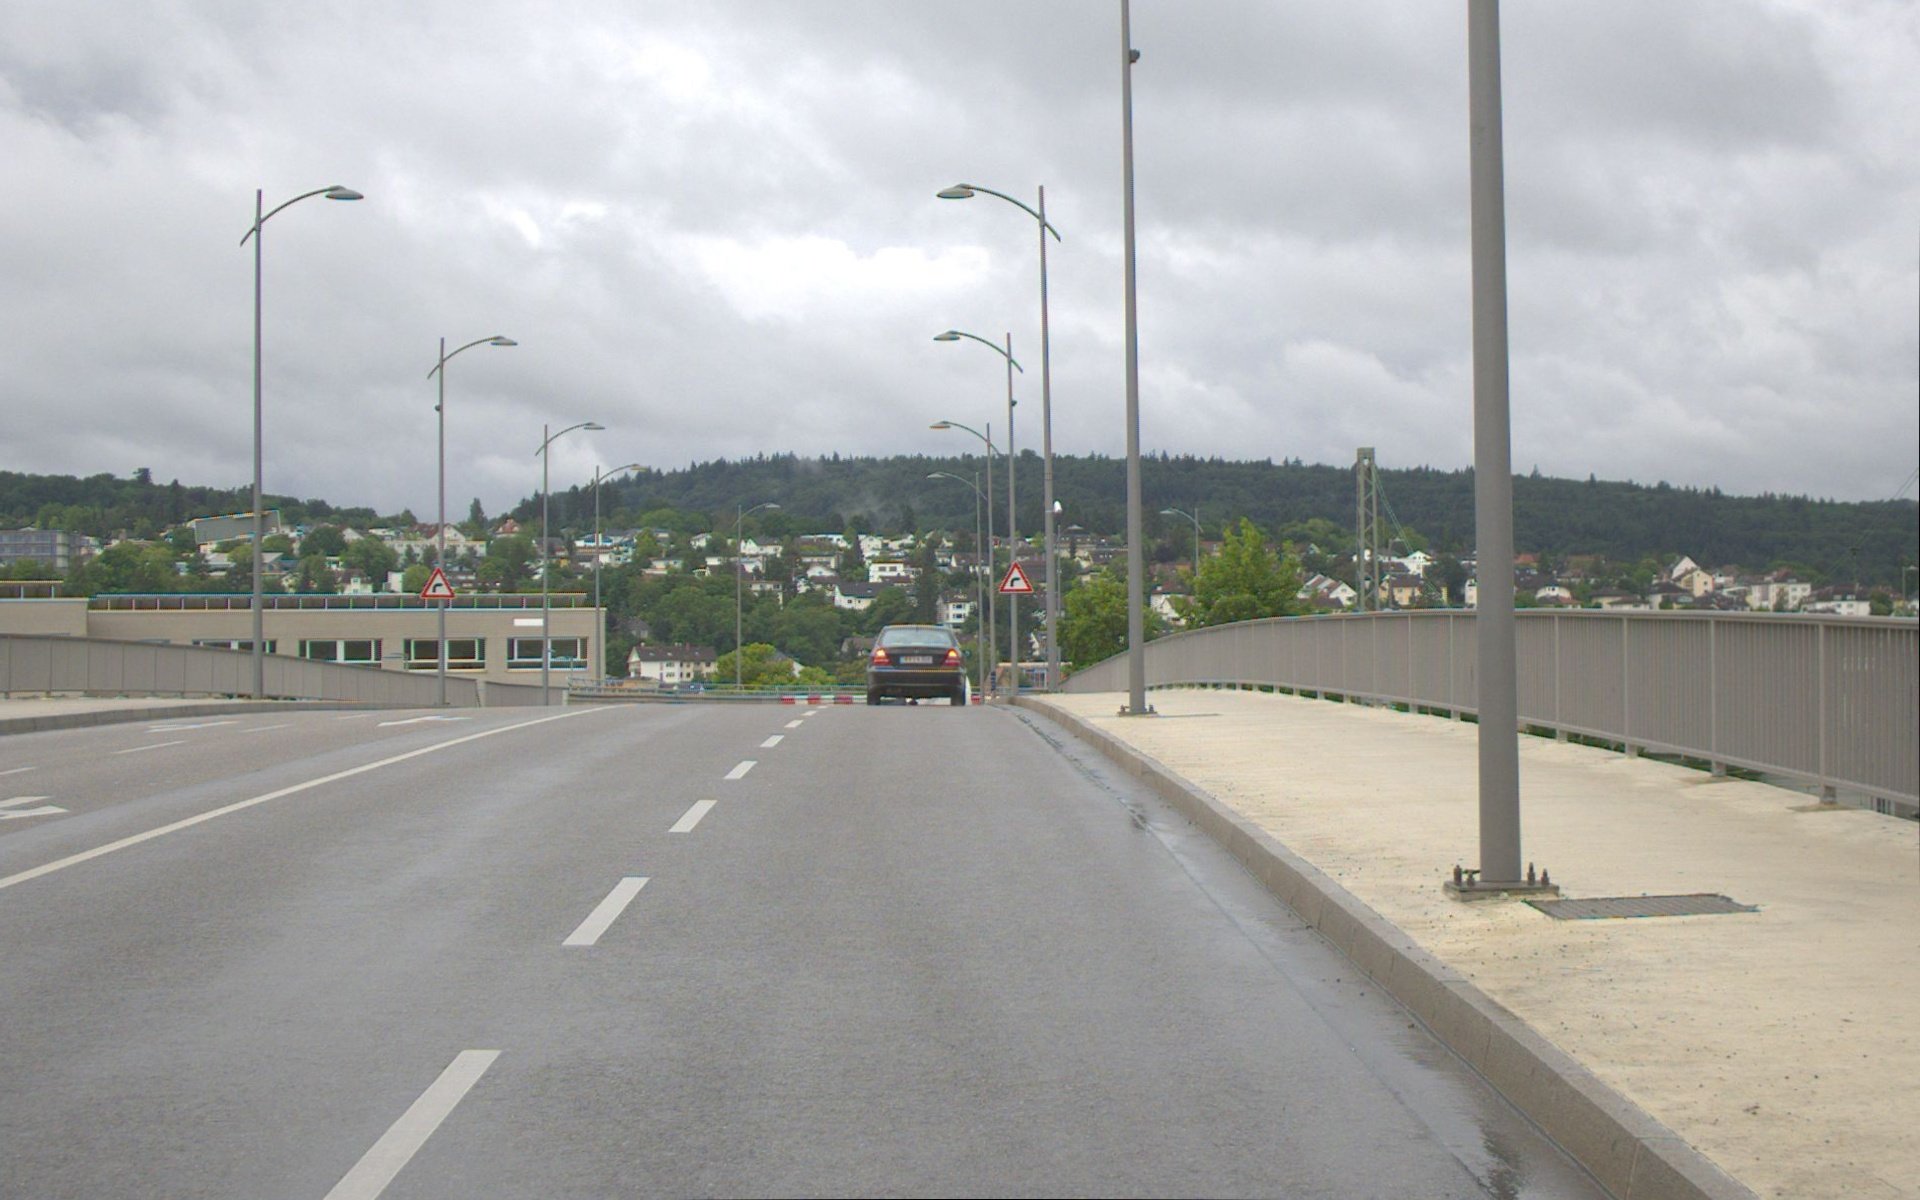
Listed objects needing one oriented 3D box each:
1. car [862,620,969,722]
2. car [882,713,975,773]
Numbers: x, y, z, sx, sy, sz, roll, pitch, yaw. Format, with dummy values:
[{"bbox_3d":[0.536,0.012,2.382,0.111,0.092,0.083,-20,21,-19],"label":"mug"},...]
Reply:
[{"bbox_3d":[-0.759,1.248,59.388,1.754,1.474,3.999,-2,-5,-1],"label":"car"},{"bbox_3d":[-1.301,6.077,145.442,1.956,2.092,4.084,-9,-10,31],"label":"car"}]
